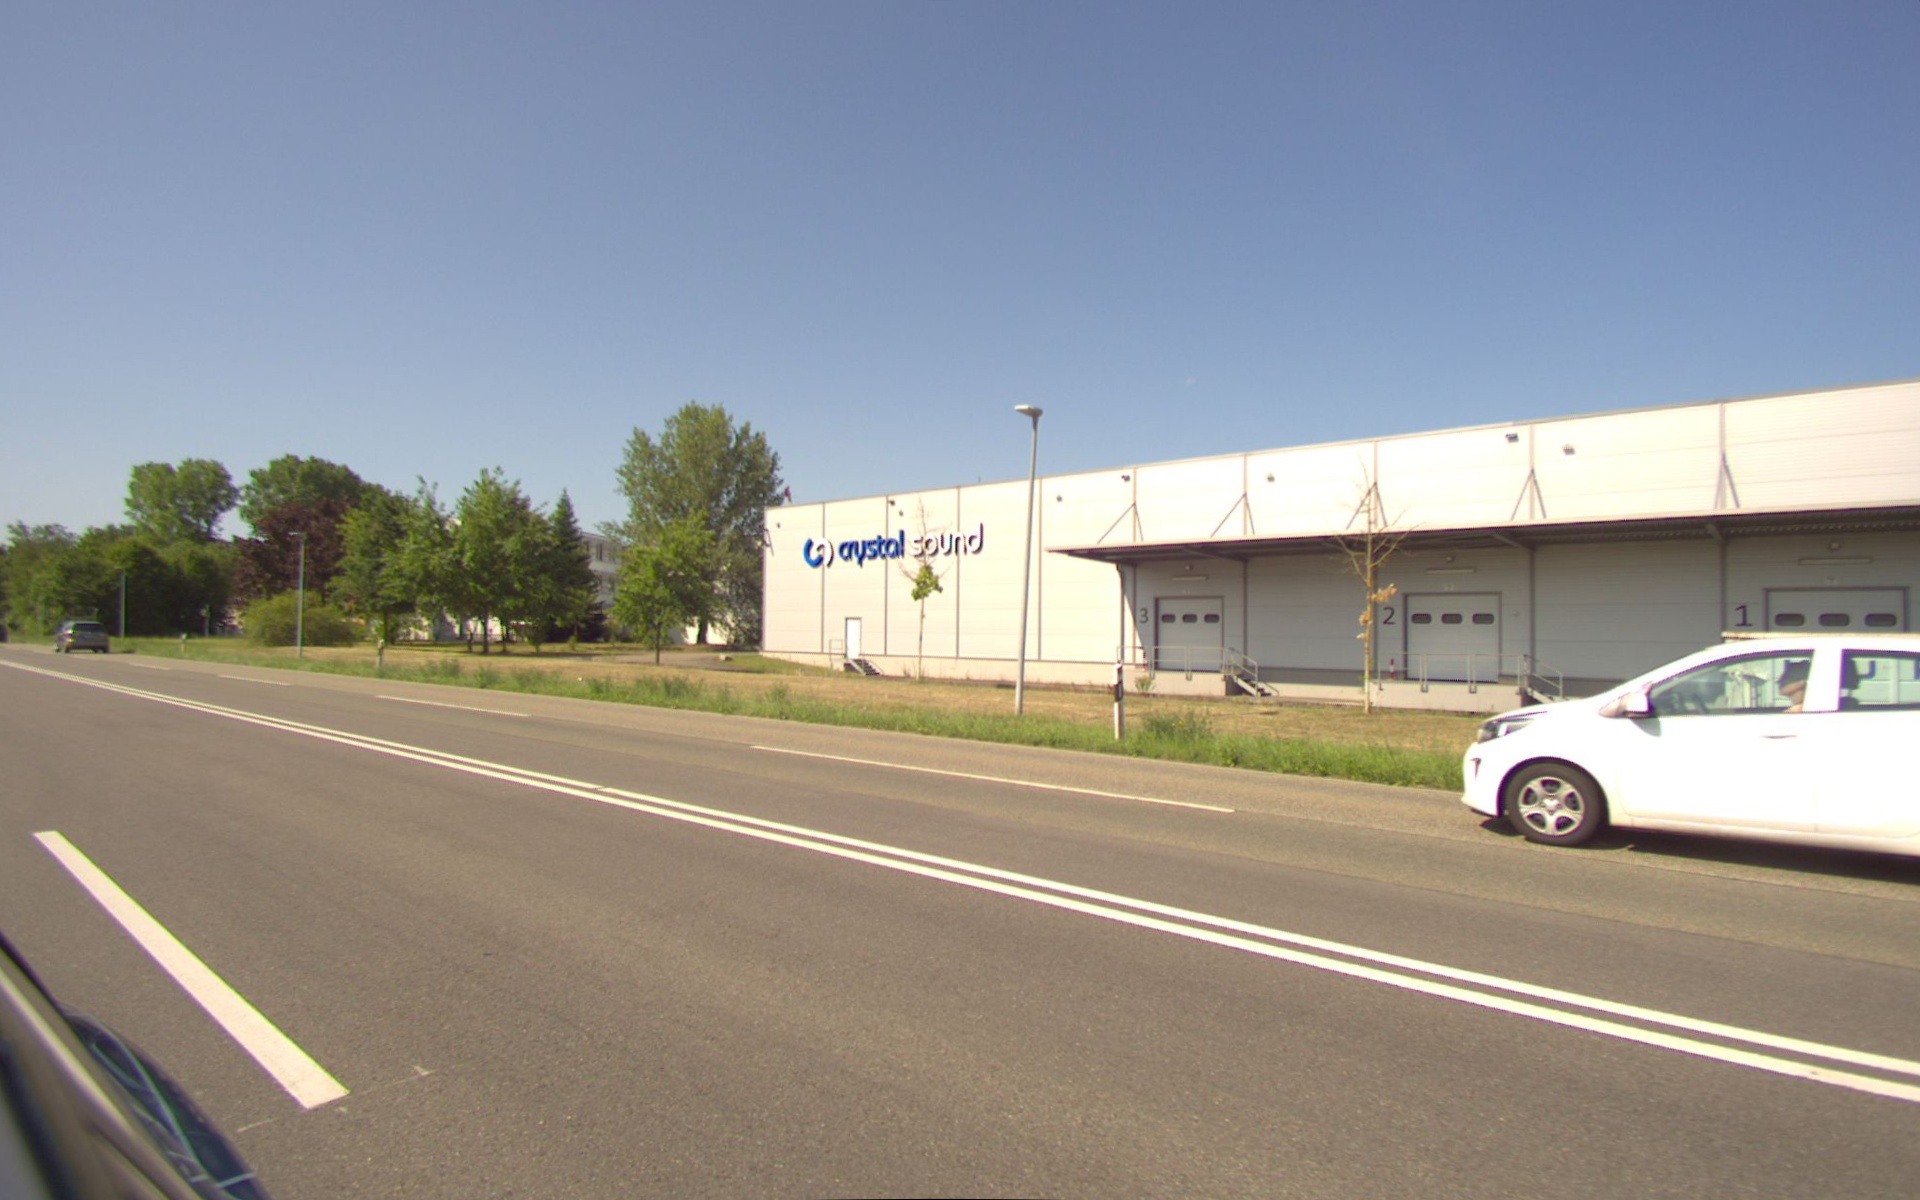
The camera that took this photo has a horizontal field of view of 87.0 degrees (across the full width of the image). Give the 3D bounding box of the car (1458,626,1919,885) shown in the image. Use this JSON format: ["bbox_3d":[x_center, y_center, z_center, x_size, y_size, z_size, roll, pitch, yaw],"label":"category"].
[{"bbox_3d":[5.531,0.934,6.697,3.733,1.448,1.642,-1,-4,41],"label":"car"}]

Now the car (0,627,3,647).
[{"bbox_3d":[-73.694,2.725,76.360,4.737,1.492,1.635,-1,-4,41],"label":"car"}]

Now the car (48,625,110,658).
[{"bbox_3d":[-44.134,2.085,50.664,4.213,1.573,1.711,-1,-4,41],"label":"car"}]
